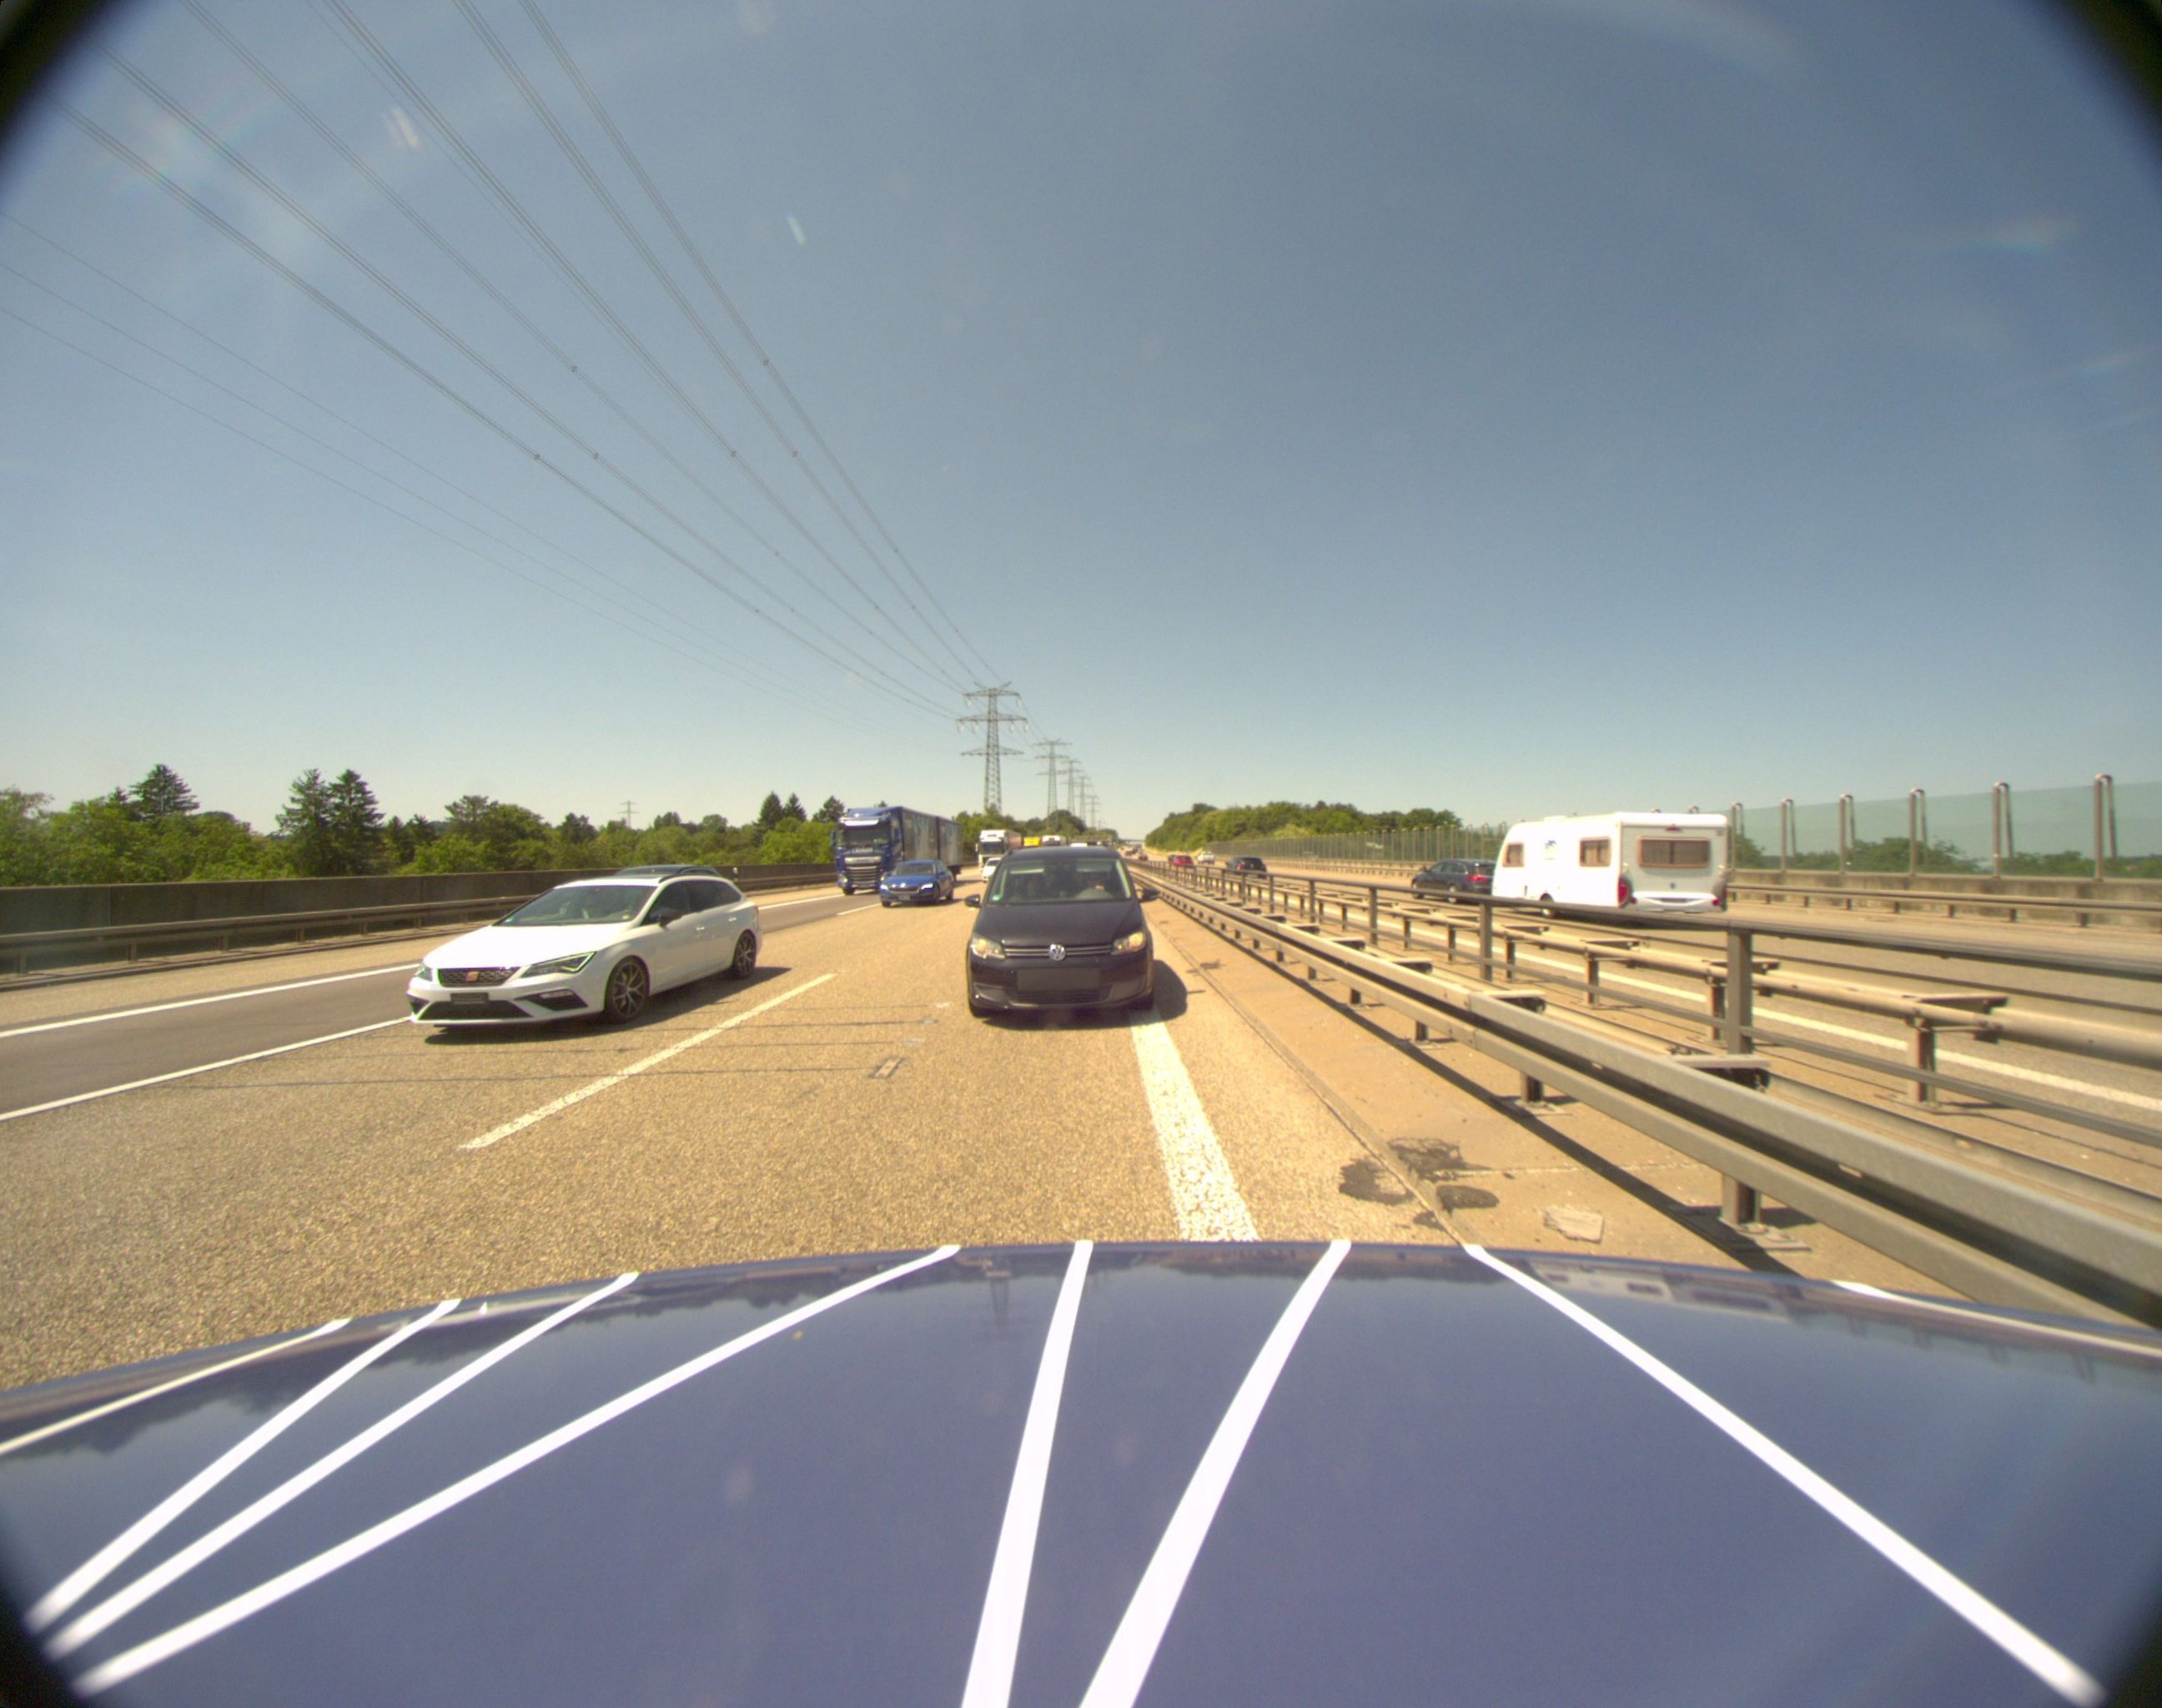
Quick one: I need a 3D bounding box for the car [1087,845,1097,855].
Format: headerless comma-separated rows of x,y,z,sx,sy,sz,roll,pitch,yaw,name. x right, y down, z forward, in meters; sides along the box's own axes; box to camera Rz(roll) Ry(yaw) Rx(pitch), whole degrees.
2.351,-0.835,159.662,1.998,2.002,3.999,-2,1,1,car

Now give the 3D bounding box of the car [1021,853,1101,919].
-0.442,0.755,20.079,1.845,1.495,4.377,-1,0,1,car

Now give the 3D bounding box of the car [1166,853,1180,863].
13.573,0.588,112.795,1.601,1.342,4.179,1,0,0,car

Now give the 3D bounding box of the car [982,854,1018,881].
-4.860,0.797,46.089,1.763,1.495,4.094,-2,0,-1,car

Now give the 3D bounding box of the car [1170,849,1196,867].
9.209,0.350,68.841,1.795,1.469,3.989,1,0,1,car

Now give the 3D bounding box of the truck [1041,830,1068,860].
-3.596,-1.279,105.418,2.980,3.832,10.561,-2,1,1,truck

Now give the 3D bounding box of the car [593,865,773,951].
-8.621,1.094,16.929,1.740,1.518,4.106,-2,1,1,car

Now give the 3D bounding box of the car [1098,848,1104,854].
6.705,-1.023,256.579,1.805,2.002,4.000,-1,0,1,car

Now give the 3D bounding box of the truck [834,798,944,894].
-9.188,-0.389,37.856,2.529,4.043,10.446,-2,1,1,truck

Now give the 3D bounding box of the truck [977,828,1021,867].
-8.002,-0.645,75.699,2.985,3.538,10.966,-2,1,1,truck

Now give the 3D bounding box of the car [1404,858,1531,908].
12.427,0.878,24.784,1.780,1.399,4.682,1,0,1,car

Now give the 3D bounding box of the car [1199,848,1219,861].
18.623,0.093,110.769,1.998,1.874,5.255,1,0,0,car

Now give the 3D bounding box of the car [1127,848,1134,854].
13.994,-0.780,215.537,1.810,1.618,4.477,1,0,0,car

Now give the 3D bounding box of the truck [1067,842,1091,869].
-0.157,0.124,76.753,2.284,2.479,5.861,-2,1,1,truck

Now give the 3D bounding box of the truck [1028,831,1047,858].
-6.841,-1.465,120.049,2.346,4.058,8.278,-2,1,1,truck

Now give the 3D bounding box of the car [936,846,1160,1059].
-0.254,0.772,8.112,1.740,1.652,3.999,-2,1,0,car

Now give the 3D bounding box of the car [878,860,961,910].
-5.278,0.964,25.372,1.739,1.437,4.210,-1,0,2,car

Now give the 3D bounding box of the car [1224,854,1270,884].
8.765,0.740,40.366,1.672,1.439,4.000,2,0,2,car

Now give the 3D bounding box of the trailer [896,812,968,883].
-9.062,-0.397,47.340,2.572,3.922,8.478,-2,1,1,trailer

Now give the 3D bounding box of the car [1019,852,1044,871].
-4.170,0.618,64.453,1.763,1.495,4.094,-1,0,0,car

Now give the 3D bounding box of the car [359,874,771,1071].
-5.250,1.073,8.554,1.843,1.481,4.071,-2,1,-1,car

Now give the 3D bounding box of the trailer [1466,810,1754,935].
12.572,0.359,18.976,2.499,2.534,6.773,1,0,1,trailer

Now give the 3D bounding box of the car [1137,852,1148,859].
11.033,0.295,136.125,1.601,1.310,4.341,1,0,0,car
